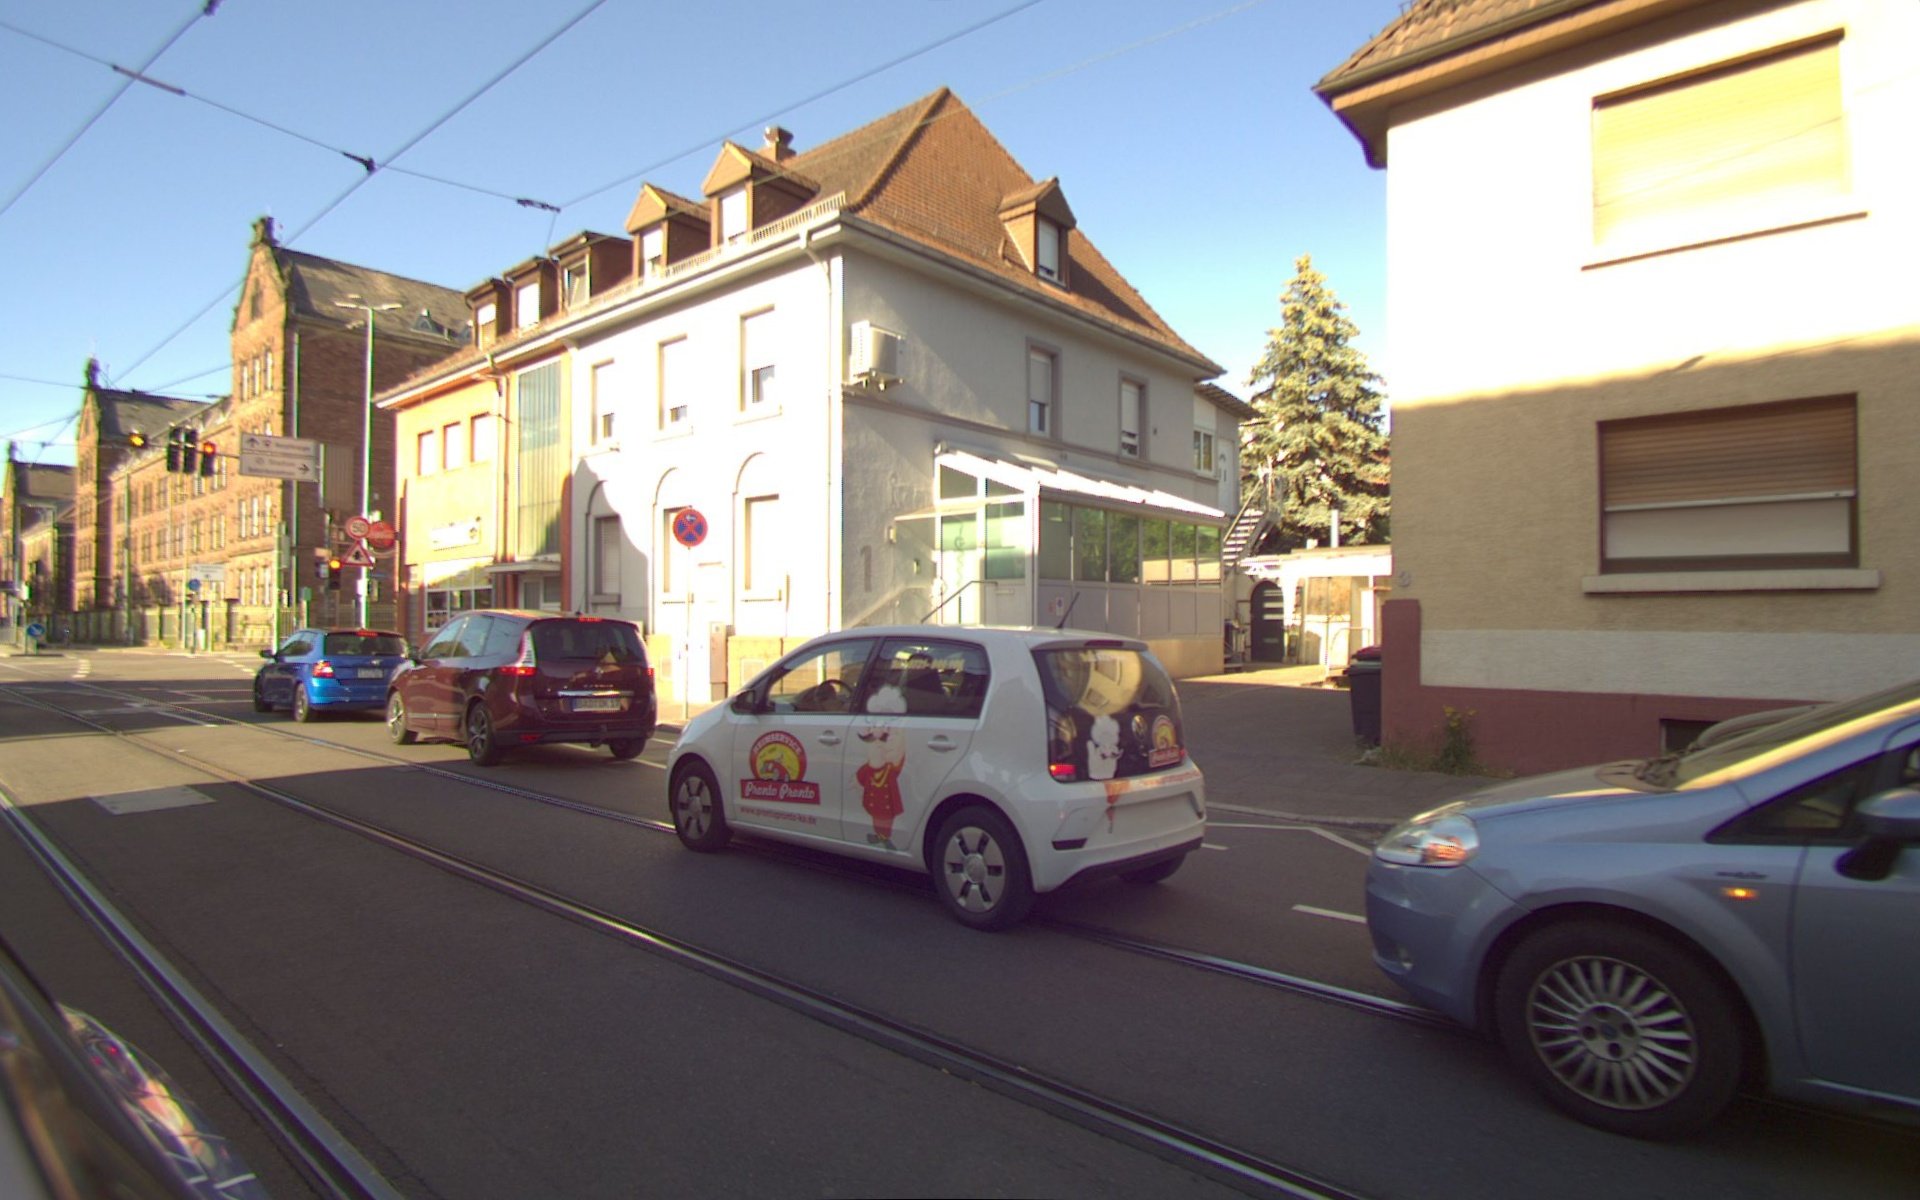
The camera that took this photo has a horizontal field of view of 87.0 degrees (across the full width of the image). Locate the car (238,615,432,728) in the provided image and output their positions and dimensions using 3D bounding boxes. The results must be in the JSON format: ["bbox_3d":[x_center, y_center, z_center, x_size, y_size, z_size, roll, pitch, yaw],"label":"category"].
[{"bbox_3d":[-10.109,1.089,16.250,3.929,1.579,1.665,-2,-4,44],"label":"car"}]

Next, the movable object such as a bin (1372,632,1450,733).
[{"bbox_3d":[5.413,0.966,12.151,0.672,1.120,0.635,-1,1,41],"label":"movable object such as a bin"}]

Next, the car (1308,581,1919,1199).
[{"bbox_3d":[3.209,0.712,2.644,4.074,1.472,1.600,-1,-3,42],"label":"car"}]

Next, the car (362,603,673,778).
[{"bbox_3d":[-5.283,0.911,11.720,1.718,1.623,4.717,3,-3,-44],"label":"car"}]

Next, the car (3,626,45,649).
[{"bbox_3d":[-62.003,2.478,67.023,4.114,1.454,1.718,-2,-2,42],"label":"car"}]

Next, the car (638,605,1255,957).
[{"bbox_3d":[-0.270,0.812,6.059,3.613,1.472,1.565,-1,-3,43],"label":"car"}]

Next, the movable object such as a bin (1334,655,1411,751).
[{"bbox_3d":[4.532,1.110,11.114,0.582,0.951,0.651,-1,1,41],"label":"movable object such as a bin"}]

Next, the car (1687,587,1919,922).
[{"bbox_3d":[6.016,0.774,4.909,3.919,1.640,1.599,-1,-3,41],"label":"car"}]

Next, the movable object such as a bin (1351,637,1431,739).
[{"bbox_3d":[4.969,0.994,11.665,0.672,1.088,0.609,-1,1,41],"label":"movable object such as a bin"}]
